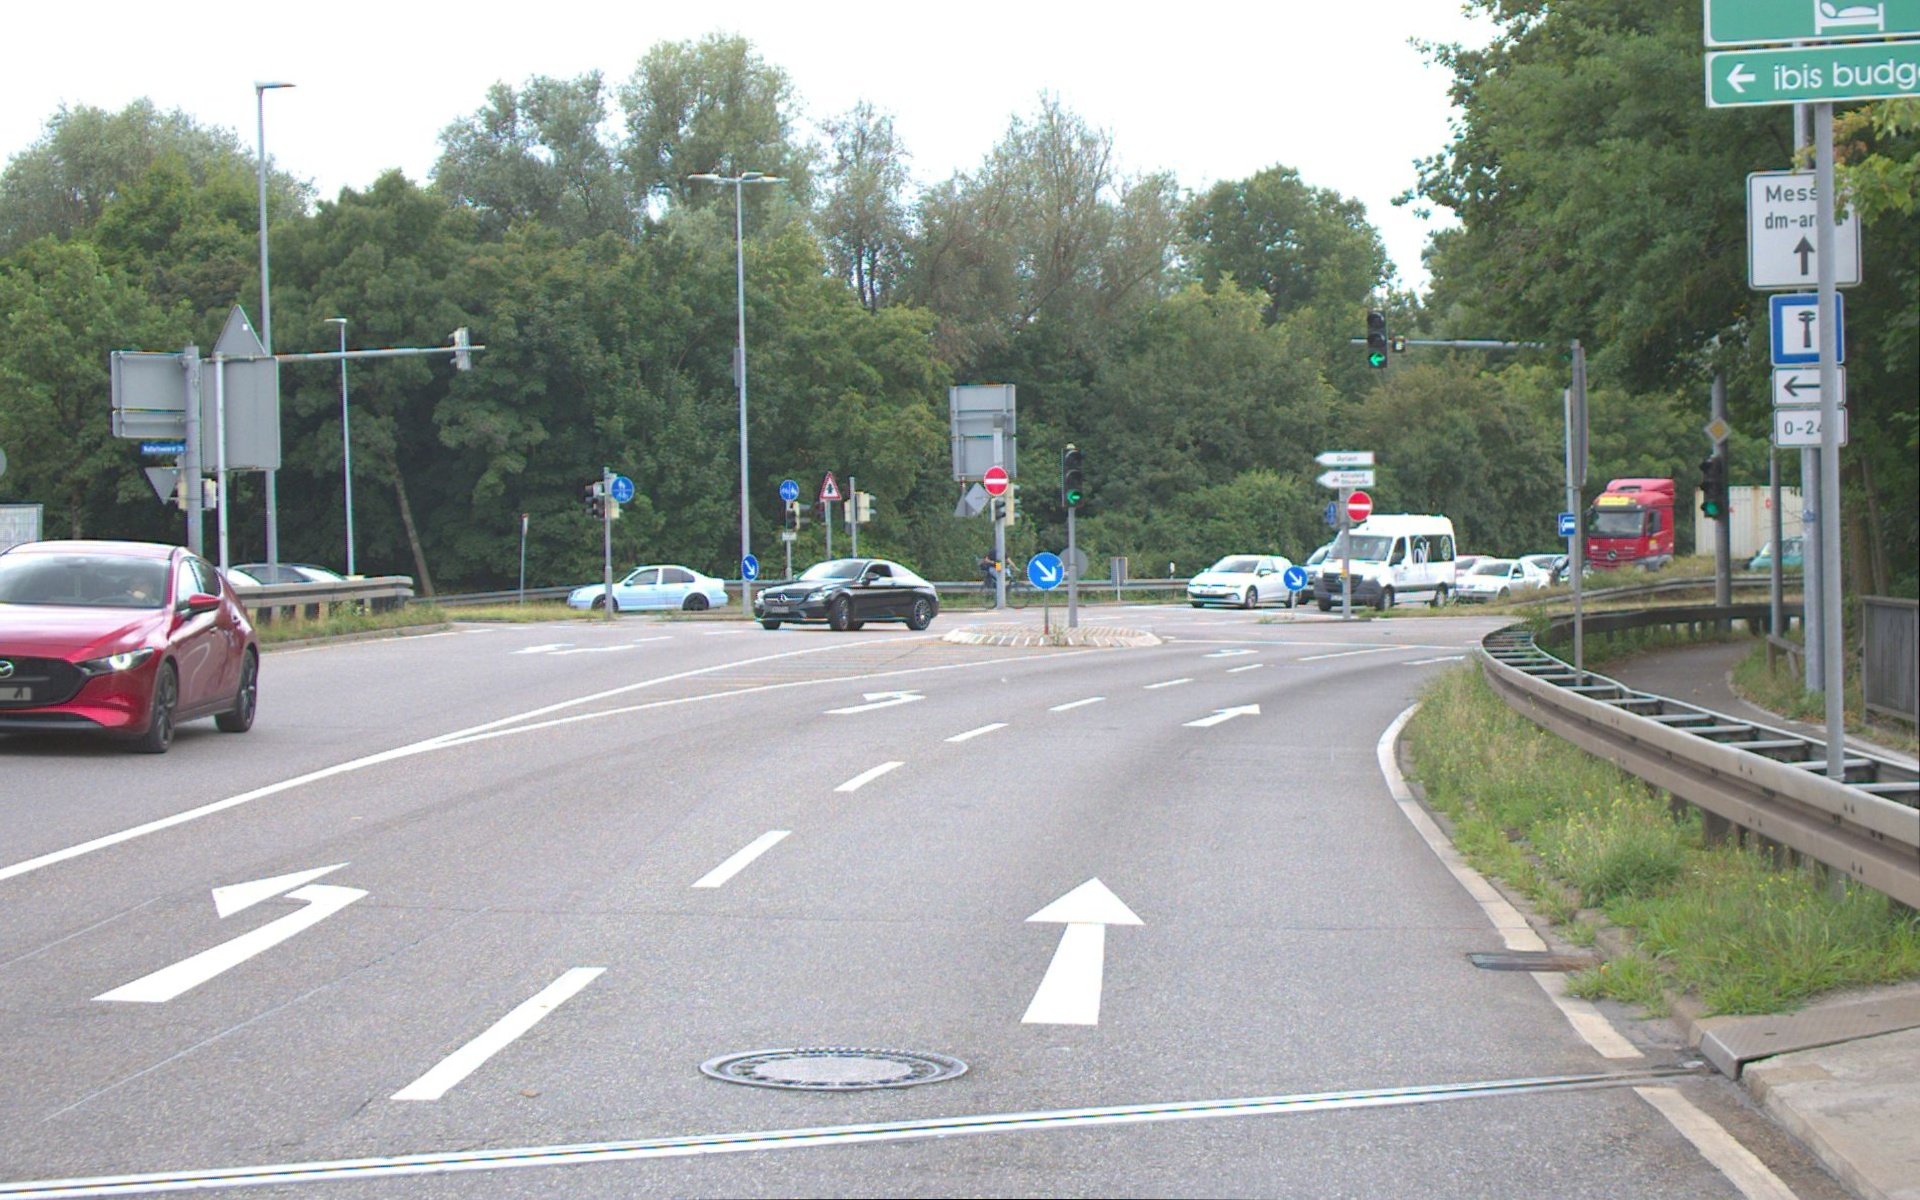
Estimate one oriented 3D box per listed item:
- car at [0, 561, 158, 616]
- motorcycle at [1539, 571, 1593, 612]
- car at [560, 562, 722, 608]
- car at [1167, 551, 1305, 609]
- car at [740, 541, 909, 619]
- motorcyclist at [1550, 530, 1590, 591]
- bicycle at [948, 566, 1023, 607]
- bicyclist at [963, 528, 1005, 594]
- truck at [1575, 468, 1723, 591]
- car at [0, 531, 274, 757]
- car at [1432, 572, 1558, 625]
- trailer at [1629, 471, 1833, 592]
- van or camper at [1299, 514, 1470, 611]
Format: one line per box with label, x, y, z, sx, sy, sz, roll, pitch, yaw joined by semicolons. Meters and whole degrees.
car;-22.458;-0.306;85.899;4.567;1.305;1.997;1;1;29
motorcycle;18.349;-0.267;104.069;0.800;1.220;2.322;1;1;32
car;-8.773;-0.423;94.299;4.209;1.201;2.001;0;1;-12
car;7.654;-0.566;94.896;1.997;1.541;4.531;1;1;31
car;-2.608;-0.414;67.285;1.995;1.450;4.650;1;1;15
motorcyclist;18.484;-1.201;104.177;0.867;1.817;0.923;1;1;33
bicycle;0.678;-0.353;90.574;1.942;1.049;0.706;-1;-1;39
bicyclist;0.633;-1.031;90.675;0.744;1.729;0.799;-1;0;39
truck;23.552;-2.388;117.342;2.574;4.069;5.610;1;1;39
car;-6.271;0.245;24.697;1.795;1.467;4.636;1;1;-1
car;15.711;-0.064;100.755;1.997;1.493;4.392;1;1;33
trailer;27.527;-2.405;122.292;2.541;4.133;10.747;1;1;39
van or camper;11.791;-1.047;95.078;2.164;2.580;6.484;1;1;32
